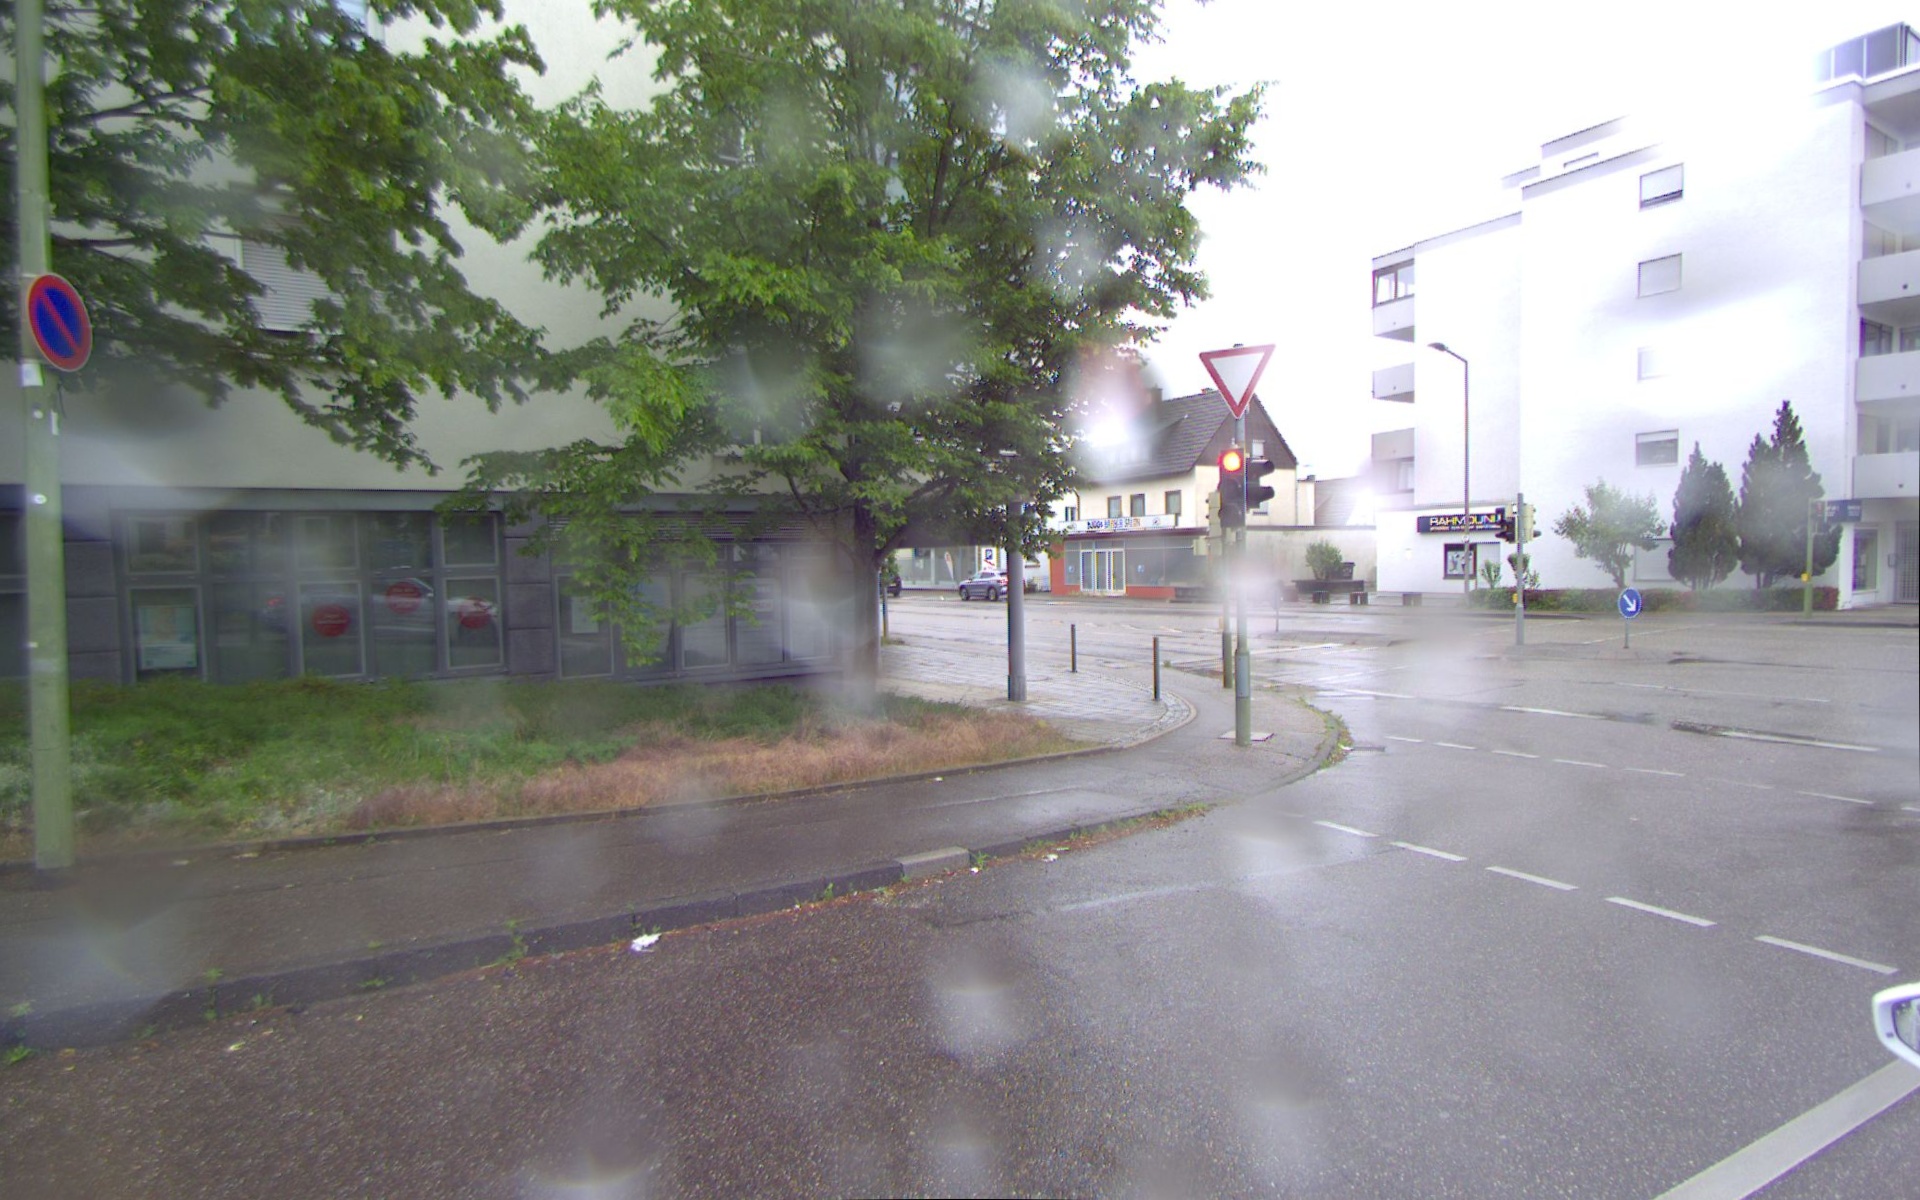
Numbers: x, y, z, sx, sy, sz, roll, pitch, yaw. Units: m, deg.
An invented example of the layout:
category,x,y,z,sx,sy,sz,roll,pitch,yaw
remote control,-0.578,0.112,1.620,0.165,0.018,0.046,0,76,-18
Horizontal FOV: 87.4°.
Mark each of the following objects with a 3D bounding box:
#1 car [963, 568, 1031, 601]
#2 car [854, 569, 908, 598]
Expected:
category,x,y,z,sx,sy,sz,roll,pitch,yaw
car,2.021,-0.874,55.915,1.976,1.718,3.968,-1,3,-30
car,-5.247,-1.124,66.546,2.087,1.719,3.968,-1,4,-30
